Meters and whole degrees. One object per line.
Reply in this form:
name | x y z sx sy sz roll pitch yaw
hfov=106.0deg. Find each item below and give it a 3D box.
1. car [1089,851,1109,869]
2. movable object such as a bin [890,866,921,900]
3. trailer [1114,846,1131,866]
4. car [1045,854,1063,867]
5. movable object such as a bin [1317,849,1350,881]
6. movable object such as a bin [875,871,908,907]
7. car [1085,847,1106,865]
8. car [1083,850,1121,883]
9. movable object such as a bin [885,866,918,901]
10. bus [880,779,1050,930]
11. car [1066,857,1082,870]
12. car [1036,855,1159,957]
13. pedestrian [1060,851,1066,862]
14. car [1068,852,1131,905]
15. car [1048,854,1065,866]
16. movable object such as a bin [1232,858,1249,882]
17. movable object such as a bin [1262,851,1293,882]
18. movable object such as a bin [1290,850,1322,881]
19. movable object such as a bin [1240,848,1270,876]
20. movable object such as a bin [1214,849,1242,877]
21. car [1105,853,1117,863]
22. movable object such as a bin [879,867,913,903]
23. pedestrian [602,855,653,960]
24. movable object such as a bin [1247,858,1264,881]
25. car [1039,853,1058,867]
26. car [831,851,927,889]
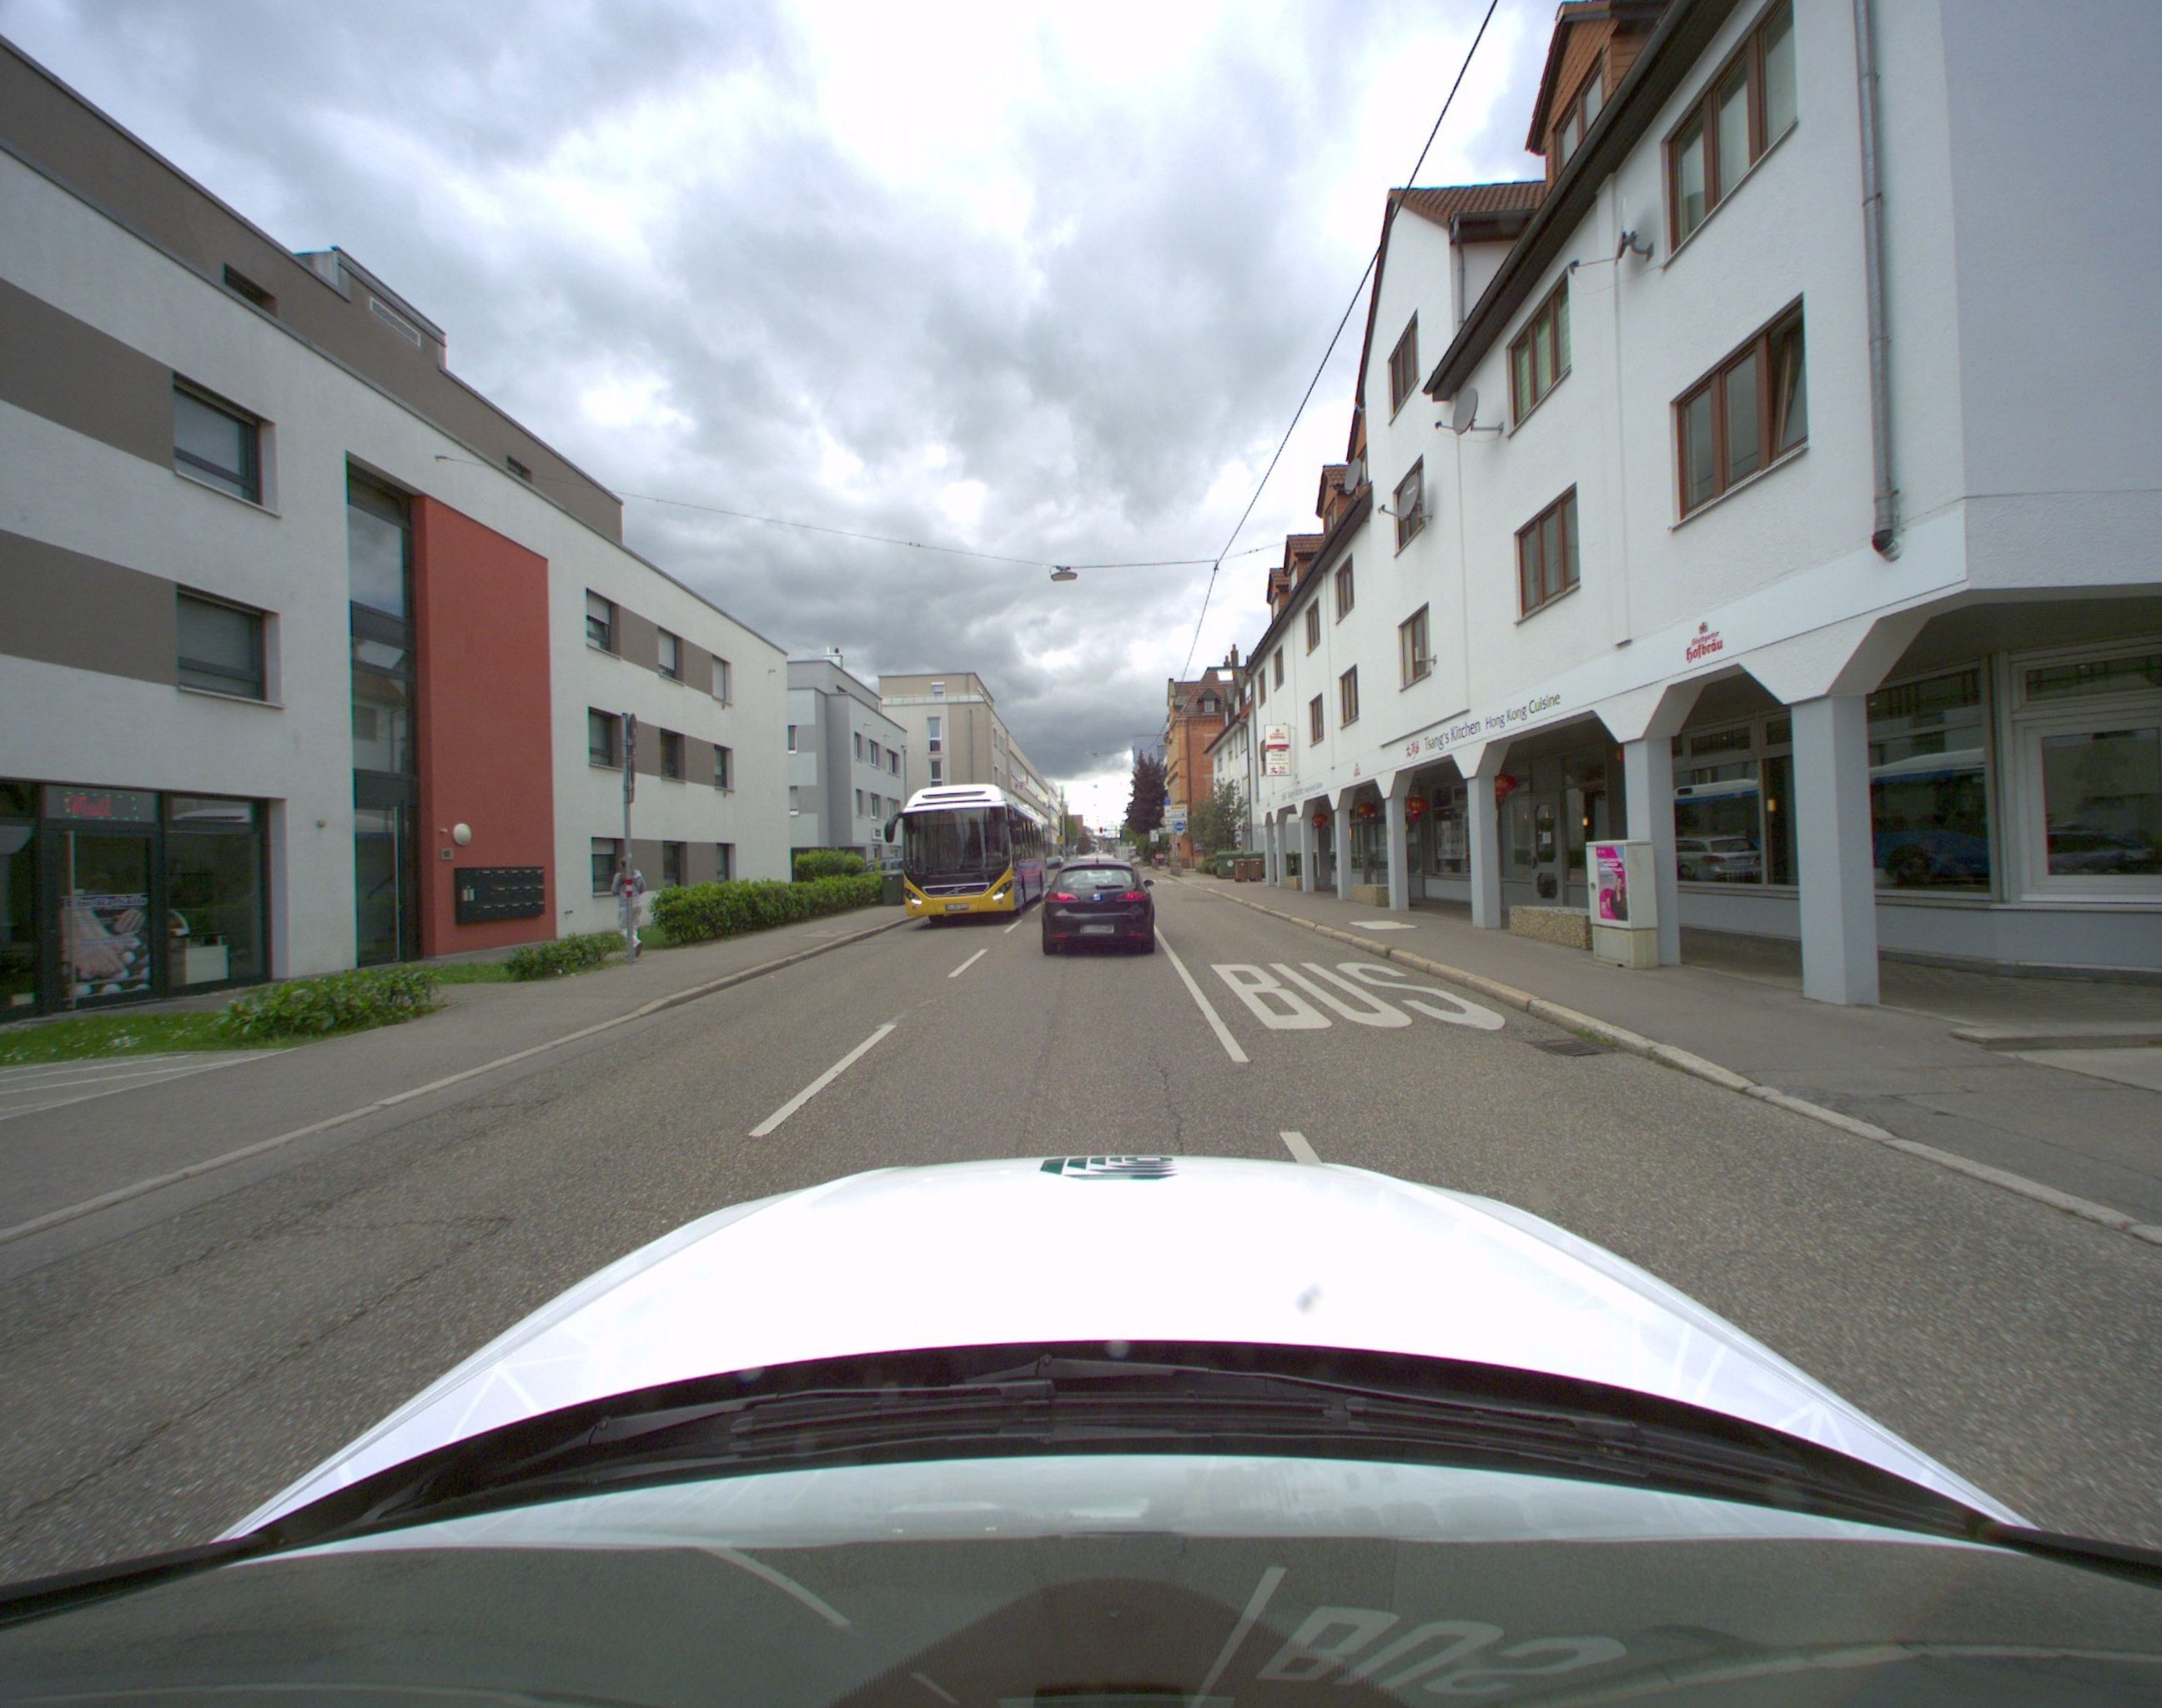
car | 1.655 0.502 74.776 1.797 1.601 3.738 -1 0 1
movable object such as a bin | -6.201 1.033 28.777 0.938 1.151 0.612 -2 0 -3
trailer | 5.472 0.255 106.833 1.986 2.607 5.350 -2 0 1
car | -3.376 0.739 101.284 1.986 1.517 4.175 -2 0 1
movable object such as a bin | 11.813 0.503 38.151 1.203 1.417 1.261 -2 0 5
movable object such as a bin | -6.135 1.117 26.364 0.892 1.089 0.792 -2 0 -3
car | 1.331 0.179 74.748 1.797 1.553 3.738 -2 0 1
car | 1.070 0.624 41.317 1.797 1.553 3.738 -2 0 1
movable object such as a bin | -6.177 1.002 28.051 0.946 1.151 0.748 -2 0 -3
bus | -2.861 -0.010 24.444 2.932 3.274 12.011 -3 0 1
car | -0.863 1.162 104.566 1.872 1.451 4.215 -4 0 1
car | 0.297 0.761 13.732 1.759 1.433 3.830 -2 0 2
pedestrian | -3.216 0.449 145.162 0.915 1.869 0.783 -1 0 1
car | 0.588 0.710 25.610 1.797 1.492 3.738 -2 0 1
car | -3.240 0.736 106.855 1.986 1.517 4.175 -2 0 1
movable object such as a bin | 7.548 0.759 38.665 0.680 1.067 0.973 -2 0 5
movable object such as a bin | 9.205 0.570 38.257 1.203 1.417 1.261 -2 0 5
movable object such as a bin | 10.562 0.533 38.213 1.203 1.417 1.261 -2 0 5
movable object such as a bin | 9.028 0.406 42.299 1.262 1.435 1.308 -2 0 2
movable object such as a bin | 7.688 0.465 42.587 1.262 1.417 1.163 -2 0 2
car | 4.798 0.696 131.899 1.797 1.601 3.738 -1 0 1
movable object such as a bin | -6.175 1.039 27.222 0.954 1.151 0.839 -2 0 -3
pedestrian | -7.350 0.840 13.211 0.641 1.642 0.516 -1 0 -24
movable object such as a bin | 8.273 0.725 38.624 0.694 1.079 0.973 -2 0 5
car | -3.747 0.638 95.421 1.906 1.517 4.175 -3 0 1
car | -9.790 0.768 39.591 4.144 1.667 1.727 -2 -1 4
